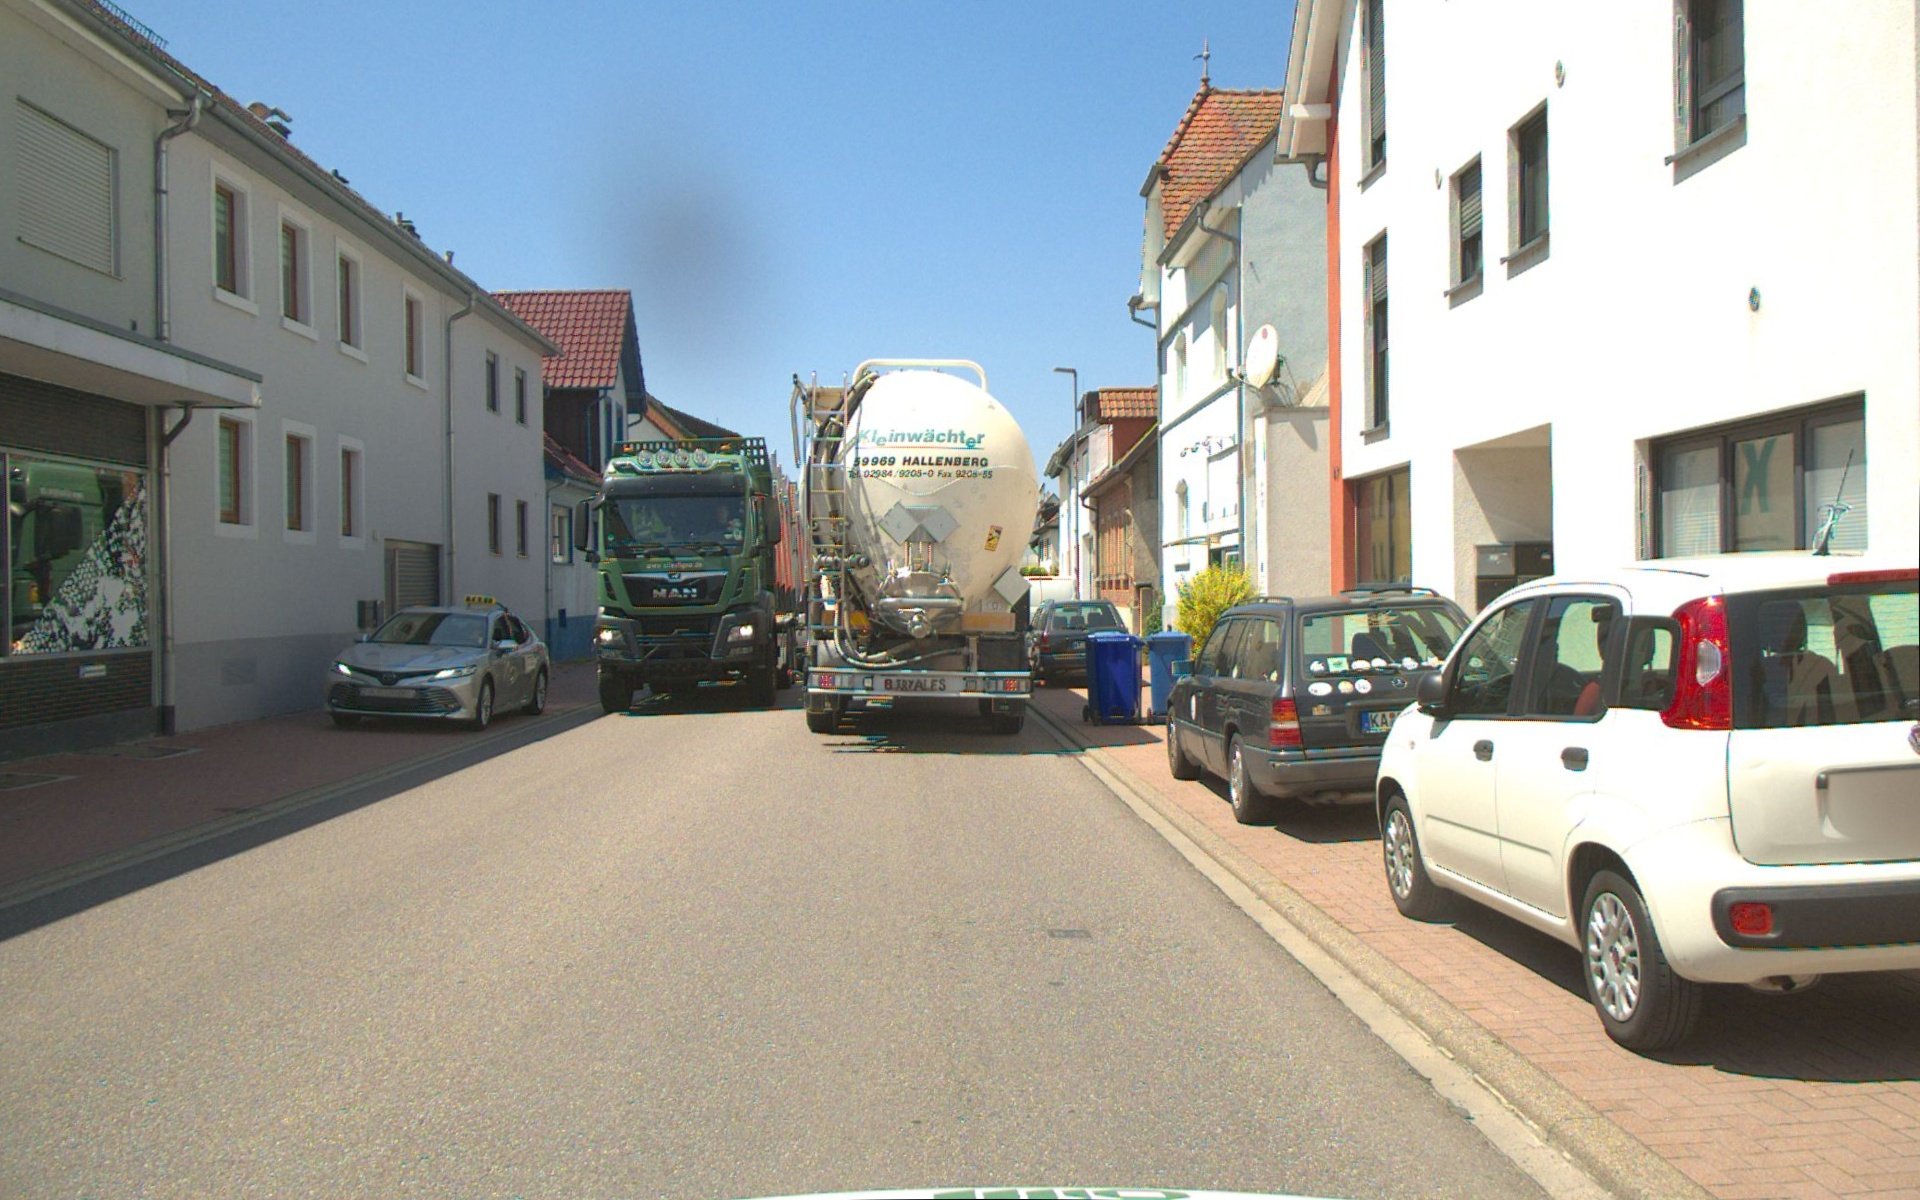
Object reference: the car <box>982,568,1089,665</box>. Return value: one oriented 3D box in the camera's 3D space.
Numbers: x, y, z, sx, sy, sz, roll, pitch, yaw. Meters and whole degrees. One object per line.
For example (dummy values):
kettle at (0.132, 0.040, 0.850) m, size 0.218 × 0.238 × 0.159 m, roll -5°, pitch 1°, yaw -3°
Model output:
car at (1.654, 0.344, 37.777) m, size 1.907 × 2.005 × 4.781 m, roll -1°, pitch 0°, yaw -3°

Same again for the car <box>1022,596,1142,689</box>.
car at (2.120, 0.697, 29.898) m, size 1.734 × 1.491 × 4.577 m, roll -1°, pitch 0°, yaw -1°

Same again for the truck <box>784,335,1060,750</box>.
truck at (-0.488, -0.540, 20.169) m, size 2.677 × 4.029 × 8.138 m, roll 0°, pitch 0°, yaw -2°

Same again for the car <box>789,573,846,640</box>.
car at (-5.808, 0.253, 68.010) m, size 2.083 × 2.586 × 5.458 m, roll -2°, pitch 0°, yaw -3°

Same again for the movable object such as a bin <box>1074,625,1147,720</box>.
movable object such as a bin at (1.870, 0.886, 20.481) m, size 0.707 × 1.092 × 0.973 m, roll -3°, pitch 0°, yaw 14°

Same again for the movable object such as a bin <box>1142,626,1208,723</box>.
movable object such as a bin at (2.547, 0.872, 19.565) m, size 0.640 × 1.078 × 0.836 m, roll -3°, pitch 0°, yaw 14°

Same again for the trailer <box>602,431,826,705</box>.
trailer at (-4.361, -0.490, 32.953) m, size 2.578 × 4.048 × 15.691 m, roll -2°, pitch 0°, yaw -2°

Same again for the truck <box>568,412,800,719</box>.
truck at (-4.077, -0.473, 25.878) m, size 2.566 × 4.055 × 6.849 m, roll -2°, pitch 0°, yaw -2°

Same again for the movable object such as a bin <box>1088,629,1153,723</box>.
movable object such as a bin at (1.918, 0.901, 19.730) m, size 0.641 × 1.053 × 0.685 m, roll -3°, pitch 0°, yaw 14°

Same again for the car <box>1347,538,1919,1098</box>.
car at (2.809, 0.591, 6.510) m, size 1.574 × 1.548 × 3.544 m, roll -3°, pitch 0°, yaw -2°

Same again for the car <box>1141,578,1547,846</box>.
car at (2.535, 0.652, 12.171) m, size 1.666 × 1.472 × 4.835 m, roll -3°, pitch 0°, yaw -2°

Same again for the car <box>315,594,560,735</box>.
car at (-6.570, 0.744, 21.337) m, size 1.772 × 1.584 × 4.563 m, roll 1°, pitch 0°, yaw -2°
